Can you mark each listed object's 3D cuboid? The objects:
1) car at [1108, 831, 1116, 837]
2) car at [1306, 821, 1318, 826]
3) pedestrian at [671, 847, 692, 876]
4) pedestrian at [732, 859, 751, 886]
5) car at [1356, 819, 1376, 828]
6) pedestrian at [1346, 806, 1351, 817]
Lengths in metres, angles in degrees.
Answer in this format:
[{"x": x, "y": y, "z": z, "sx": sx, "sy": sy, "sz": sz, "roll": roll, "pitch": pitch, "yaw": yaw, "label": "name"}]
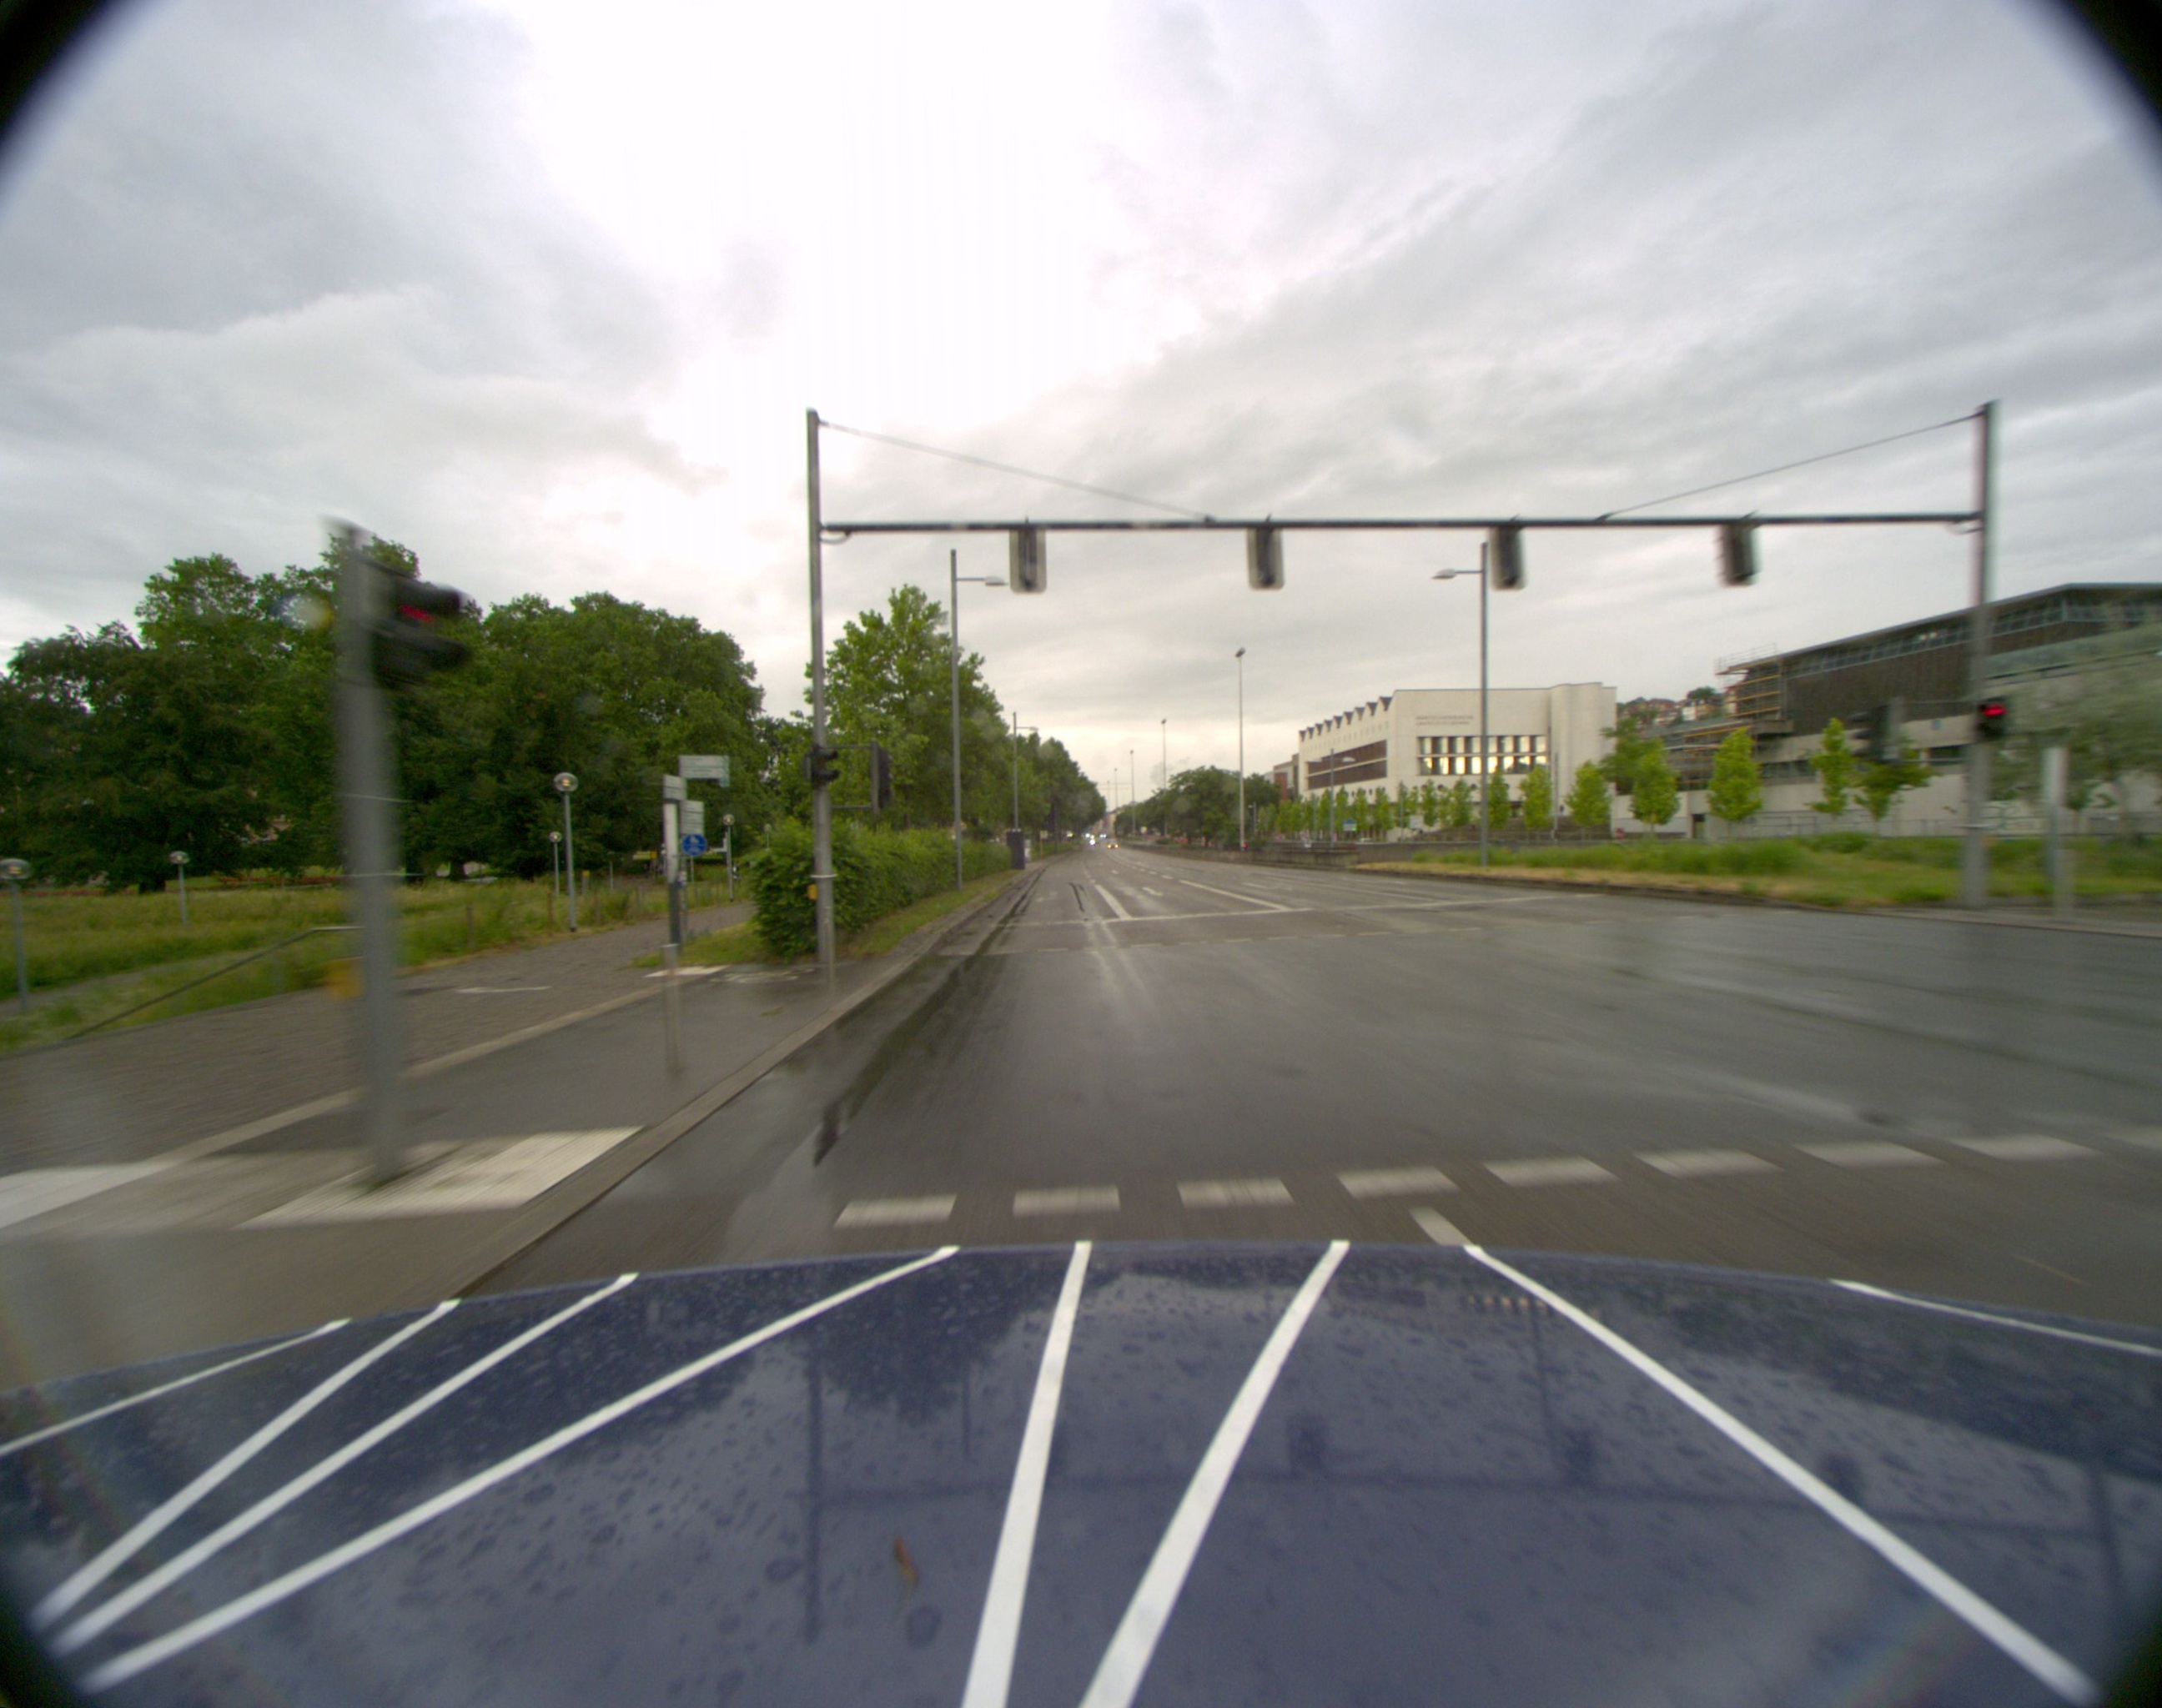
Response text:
[{"x": 6.300, "y": -4.054, "z": 153.322, "sx": 1.517, "sy": 1.139, "sz": 2.759, "roll": -3, "pitch": 4, "yaw": 4, "label": "car"}, {"x": 36.254, "y": -4.738, "z": 119.258, "sx": 0.821, "sy": 0.741, "sz": 2.551, "roll": -3, "pitch": 4, "yaw": -4, "label": "car"}, {"x": -22.635, "y": 0.411, "z": 43.060, "sx": 0.726, "sy": 1.561, "sz": 0.672, "roll": -3, "pitch": 4, "yaw": -10, "label": "pedestrian"}, {"x": -20.623, "y": 1.104, "z": 46.133, "sx": 0.672, "sy": 1.561, "sz": 0.726, "roll": -2, "pitch": 4, "yaw": 8, "label": "pedestrian"}, {"x": 38.085, "y": -4.125, "z": 101.515, "sx": 1.444, "sy": 1.108, "sz": 3.018, "roll": -3, "pitch": 4, "yaw": -1, "label": "car"}, {"x": 49.494, "y": -7.871, "z": 140.619, "sx": 0.738, "sy": 1.849, "sz": 0.703, "roll": 1, "pitch": 6, "yaw": 42, "label": "pedestrian"}]
